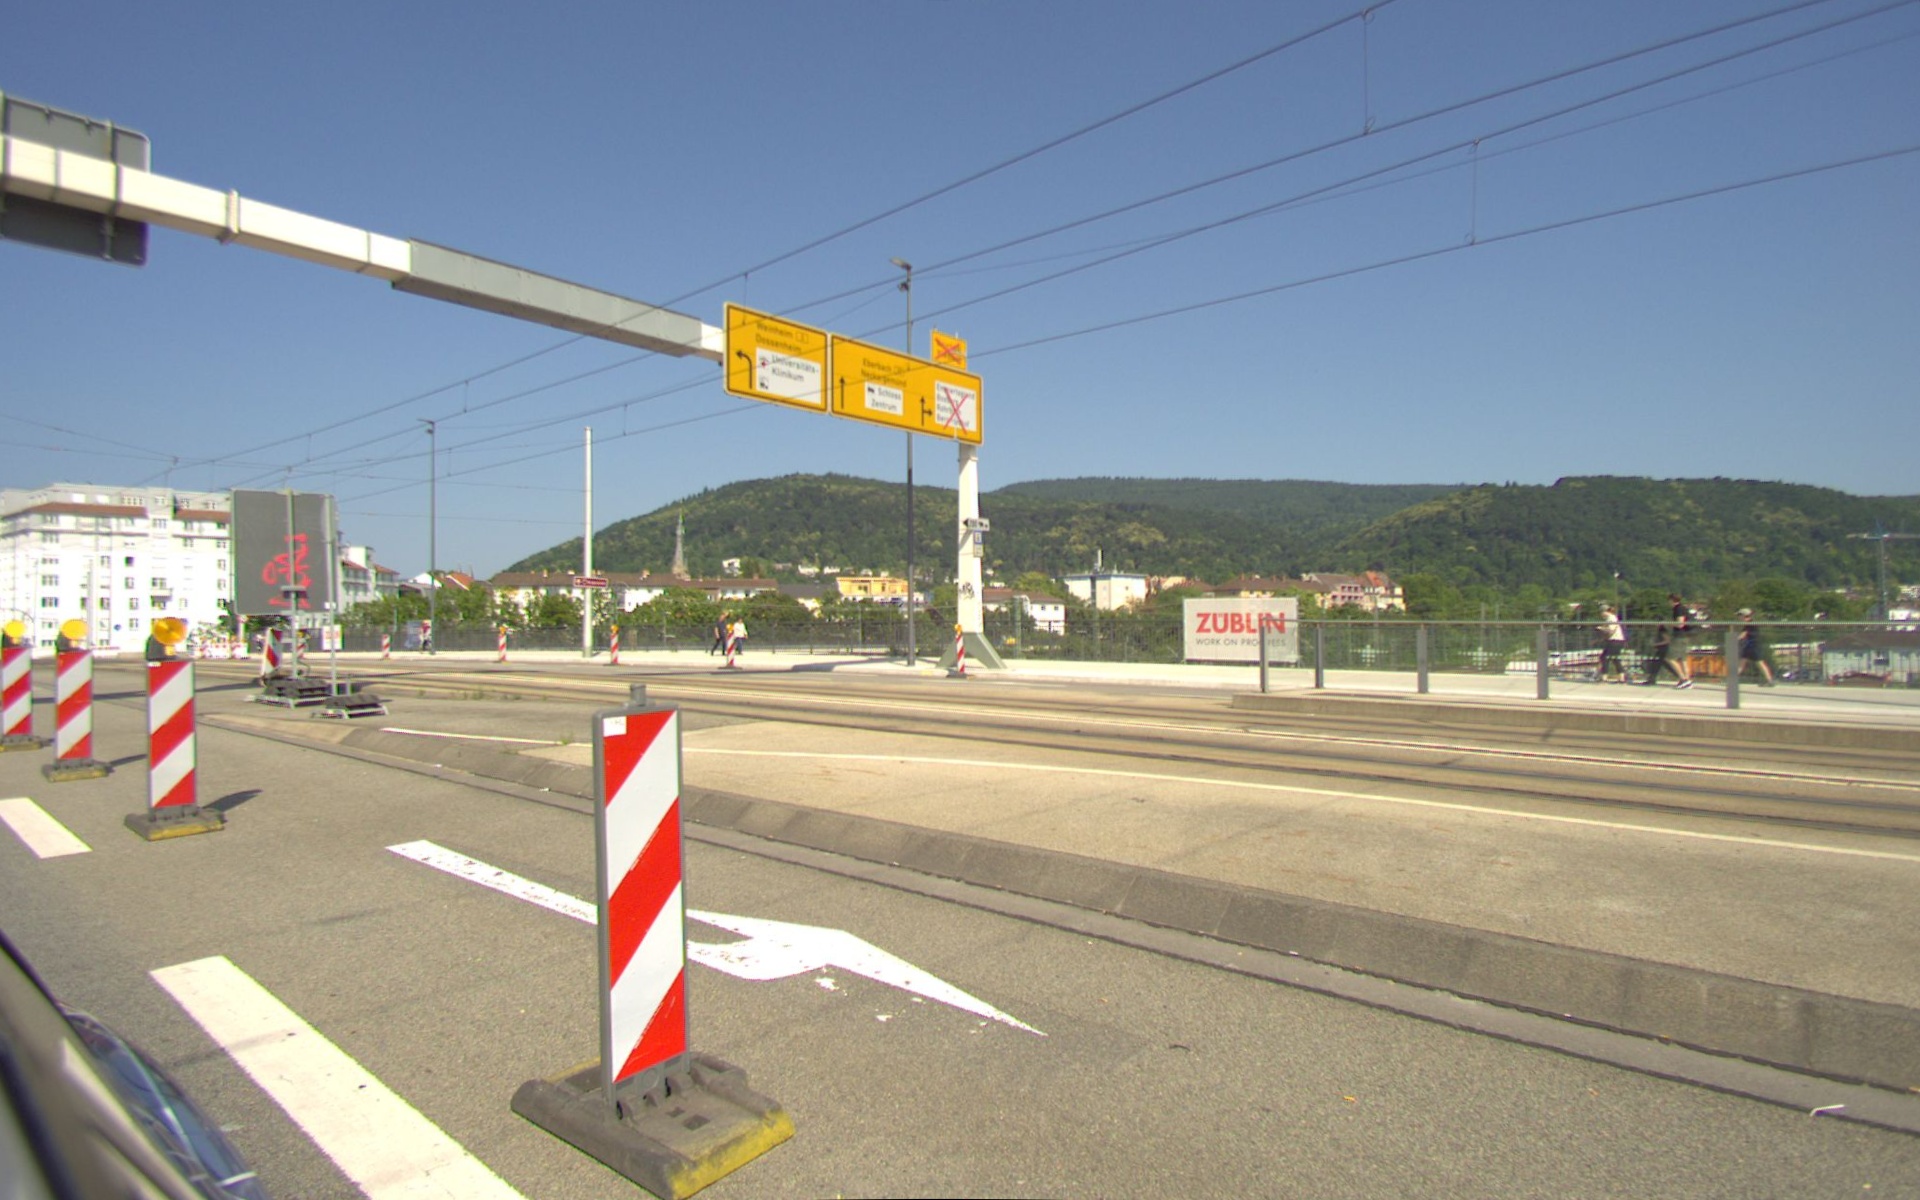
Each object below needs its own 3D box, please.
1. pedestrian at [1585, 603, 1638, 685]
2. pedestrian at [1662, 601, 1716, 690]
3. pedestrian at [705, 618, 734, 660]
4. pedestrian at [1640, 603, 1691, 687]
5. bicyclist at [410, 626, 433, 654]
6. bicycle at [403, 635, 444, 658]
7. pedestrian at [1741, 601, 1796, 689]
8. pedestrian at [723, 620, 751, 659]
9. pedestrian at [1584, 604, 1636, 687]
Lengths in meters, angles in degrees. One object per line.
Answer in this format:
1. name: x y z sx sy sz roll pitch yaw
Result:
1. pedestrian: 13.890 0.935 21.578 0.817 1.700 0.591 -2 -3 42
2. pedestrian: 14.417 0.891 20.016 0.731 1.700 0.744 -2 -3 42
3. pedestrian: -9.837 1.601 41.381 0.894 1.654 0.736 -3 0 39
4. pedestrian: 14.514 0.918 20.831 0.770 1.700 0.379 -2 -3 43
5. bicyclist: -29.697 2.196 55.831 0.816 1.530 0.848 -2 -1 38
6. bicycle: -29.576 2.574 55.743 3.068 1.204 0.848 -2 -1 39
7. pedestrian: 16.089 0.889 20.144 0.773 1.700 0.498 -2 -3 43
8. pedestrian: -9.275 1.651 42.063 0.888 1.556 0.712 -3 0 39
9. pedestrian: 13.562 0.939 21.125 0.808 1.700 0.481 -2 -3 43
